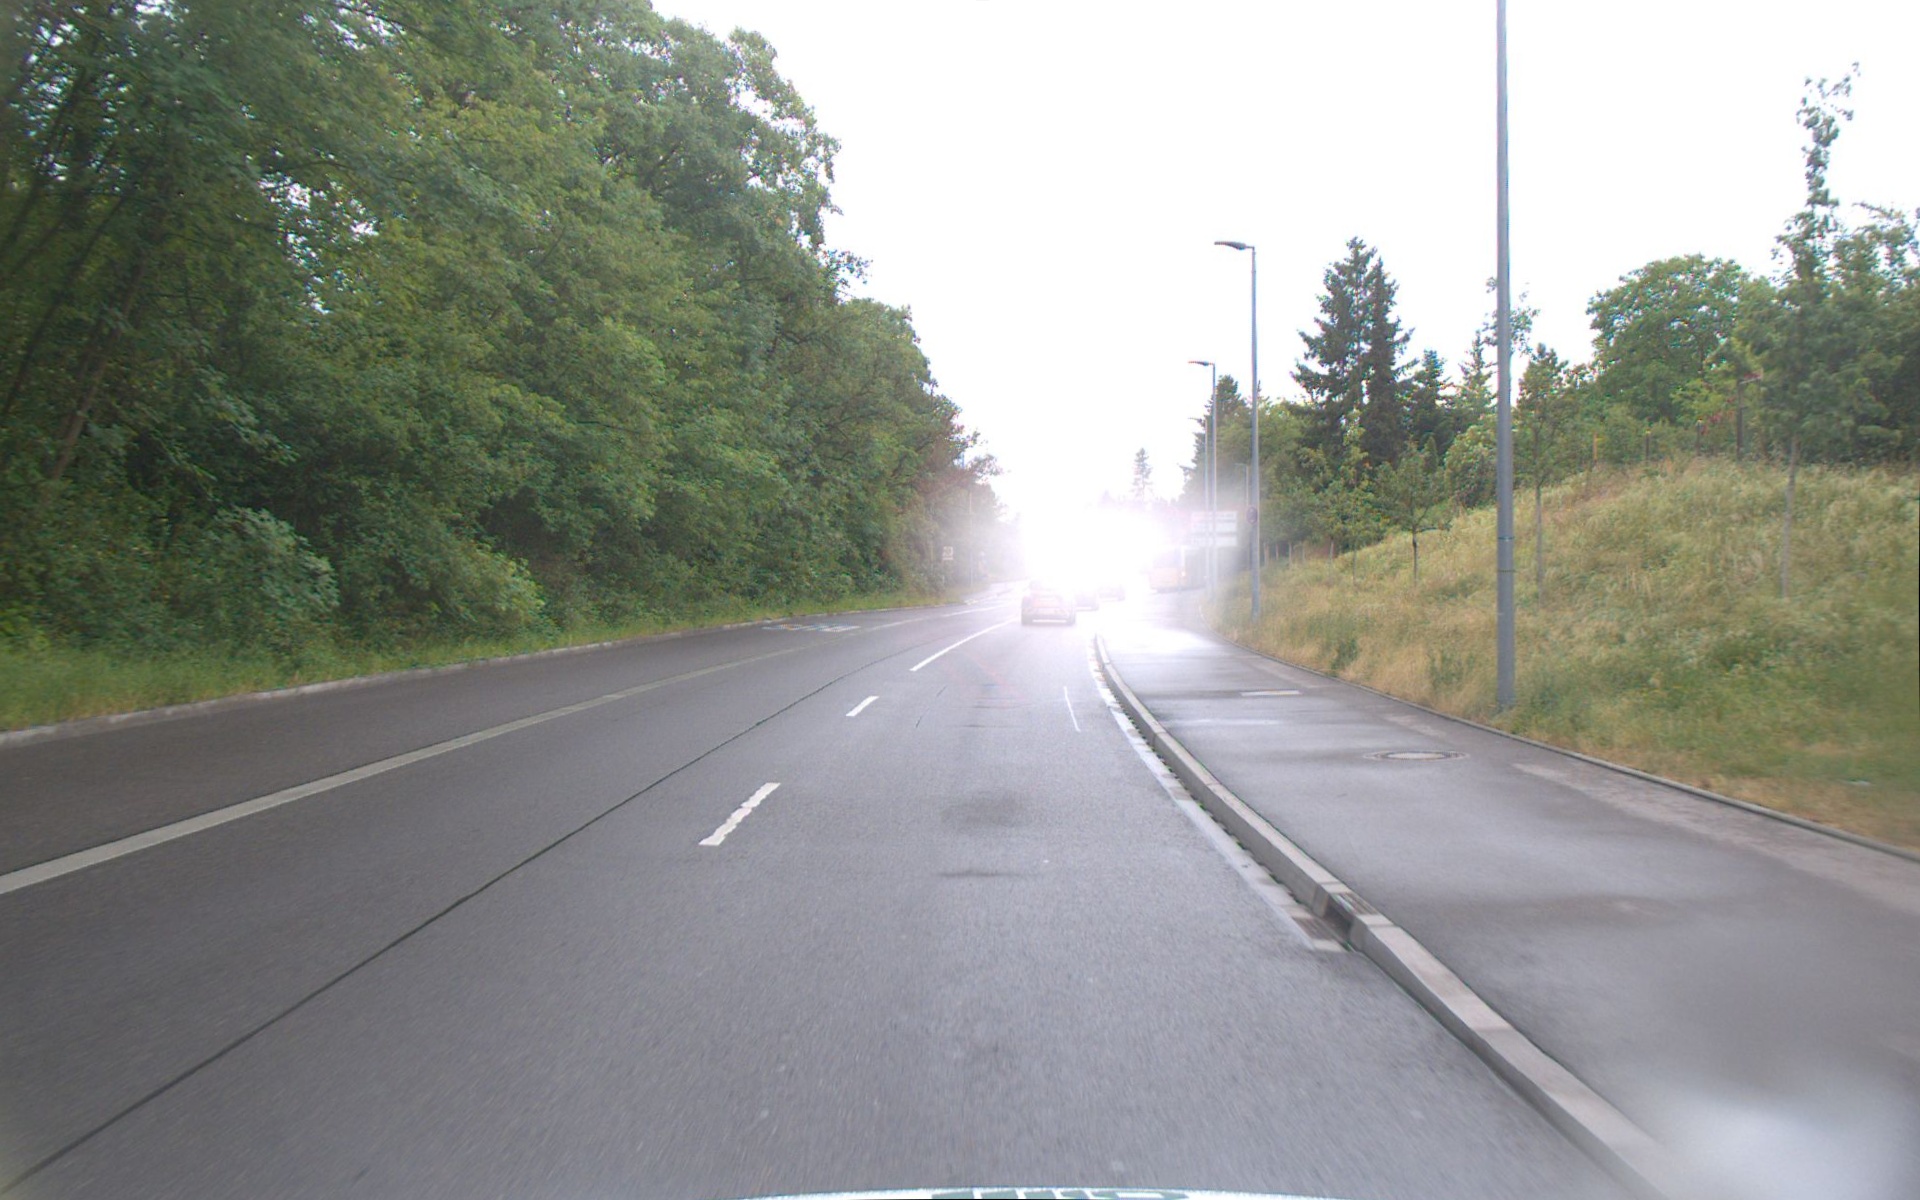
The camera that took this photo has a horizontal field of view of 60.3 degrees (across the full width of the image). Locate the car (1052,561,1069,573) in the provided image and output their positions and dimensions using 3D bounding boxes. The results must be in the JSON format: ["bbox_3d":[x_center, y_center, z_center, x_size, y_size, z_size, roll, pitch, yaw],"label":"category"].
[{"bbox_3d":[13.148,-4.327,216.393,1.952,1.445,4.001,0,1,1],"label":"car"}]

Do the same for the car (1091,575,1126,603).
[{"bbox_3d":[8.455,-0.641,94.400,1.951,1.579,4.003,0,1,5],"label":"car"}]

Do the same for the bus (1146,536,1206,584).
[{"bbox_3d":[15.145,-2.741,115.380,2.757,3.197,9.186,0,1,16],"label":"bus"}]

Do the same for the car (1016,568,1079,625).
[{"bbox_3d":[2.964,-0.152,55.107,1.951,1.718,4.003,-1,2,5],"label":"car"}]

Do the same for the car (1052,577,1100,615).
[{"bbox_3d":[5.227,-0.197,73.973,1.886,1.512,3.803,-1,2,7],"label":"car"}]
